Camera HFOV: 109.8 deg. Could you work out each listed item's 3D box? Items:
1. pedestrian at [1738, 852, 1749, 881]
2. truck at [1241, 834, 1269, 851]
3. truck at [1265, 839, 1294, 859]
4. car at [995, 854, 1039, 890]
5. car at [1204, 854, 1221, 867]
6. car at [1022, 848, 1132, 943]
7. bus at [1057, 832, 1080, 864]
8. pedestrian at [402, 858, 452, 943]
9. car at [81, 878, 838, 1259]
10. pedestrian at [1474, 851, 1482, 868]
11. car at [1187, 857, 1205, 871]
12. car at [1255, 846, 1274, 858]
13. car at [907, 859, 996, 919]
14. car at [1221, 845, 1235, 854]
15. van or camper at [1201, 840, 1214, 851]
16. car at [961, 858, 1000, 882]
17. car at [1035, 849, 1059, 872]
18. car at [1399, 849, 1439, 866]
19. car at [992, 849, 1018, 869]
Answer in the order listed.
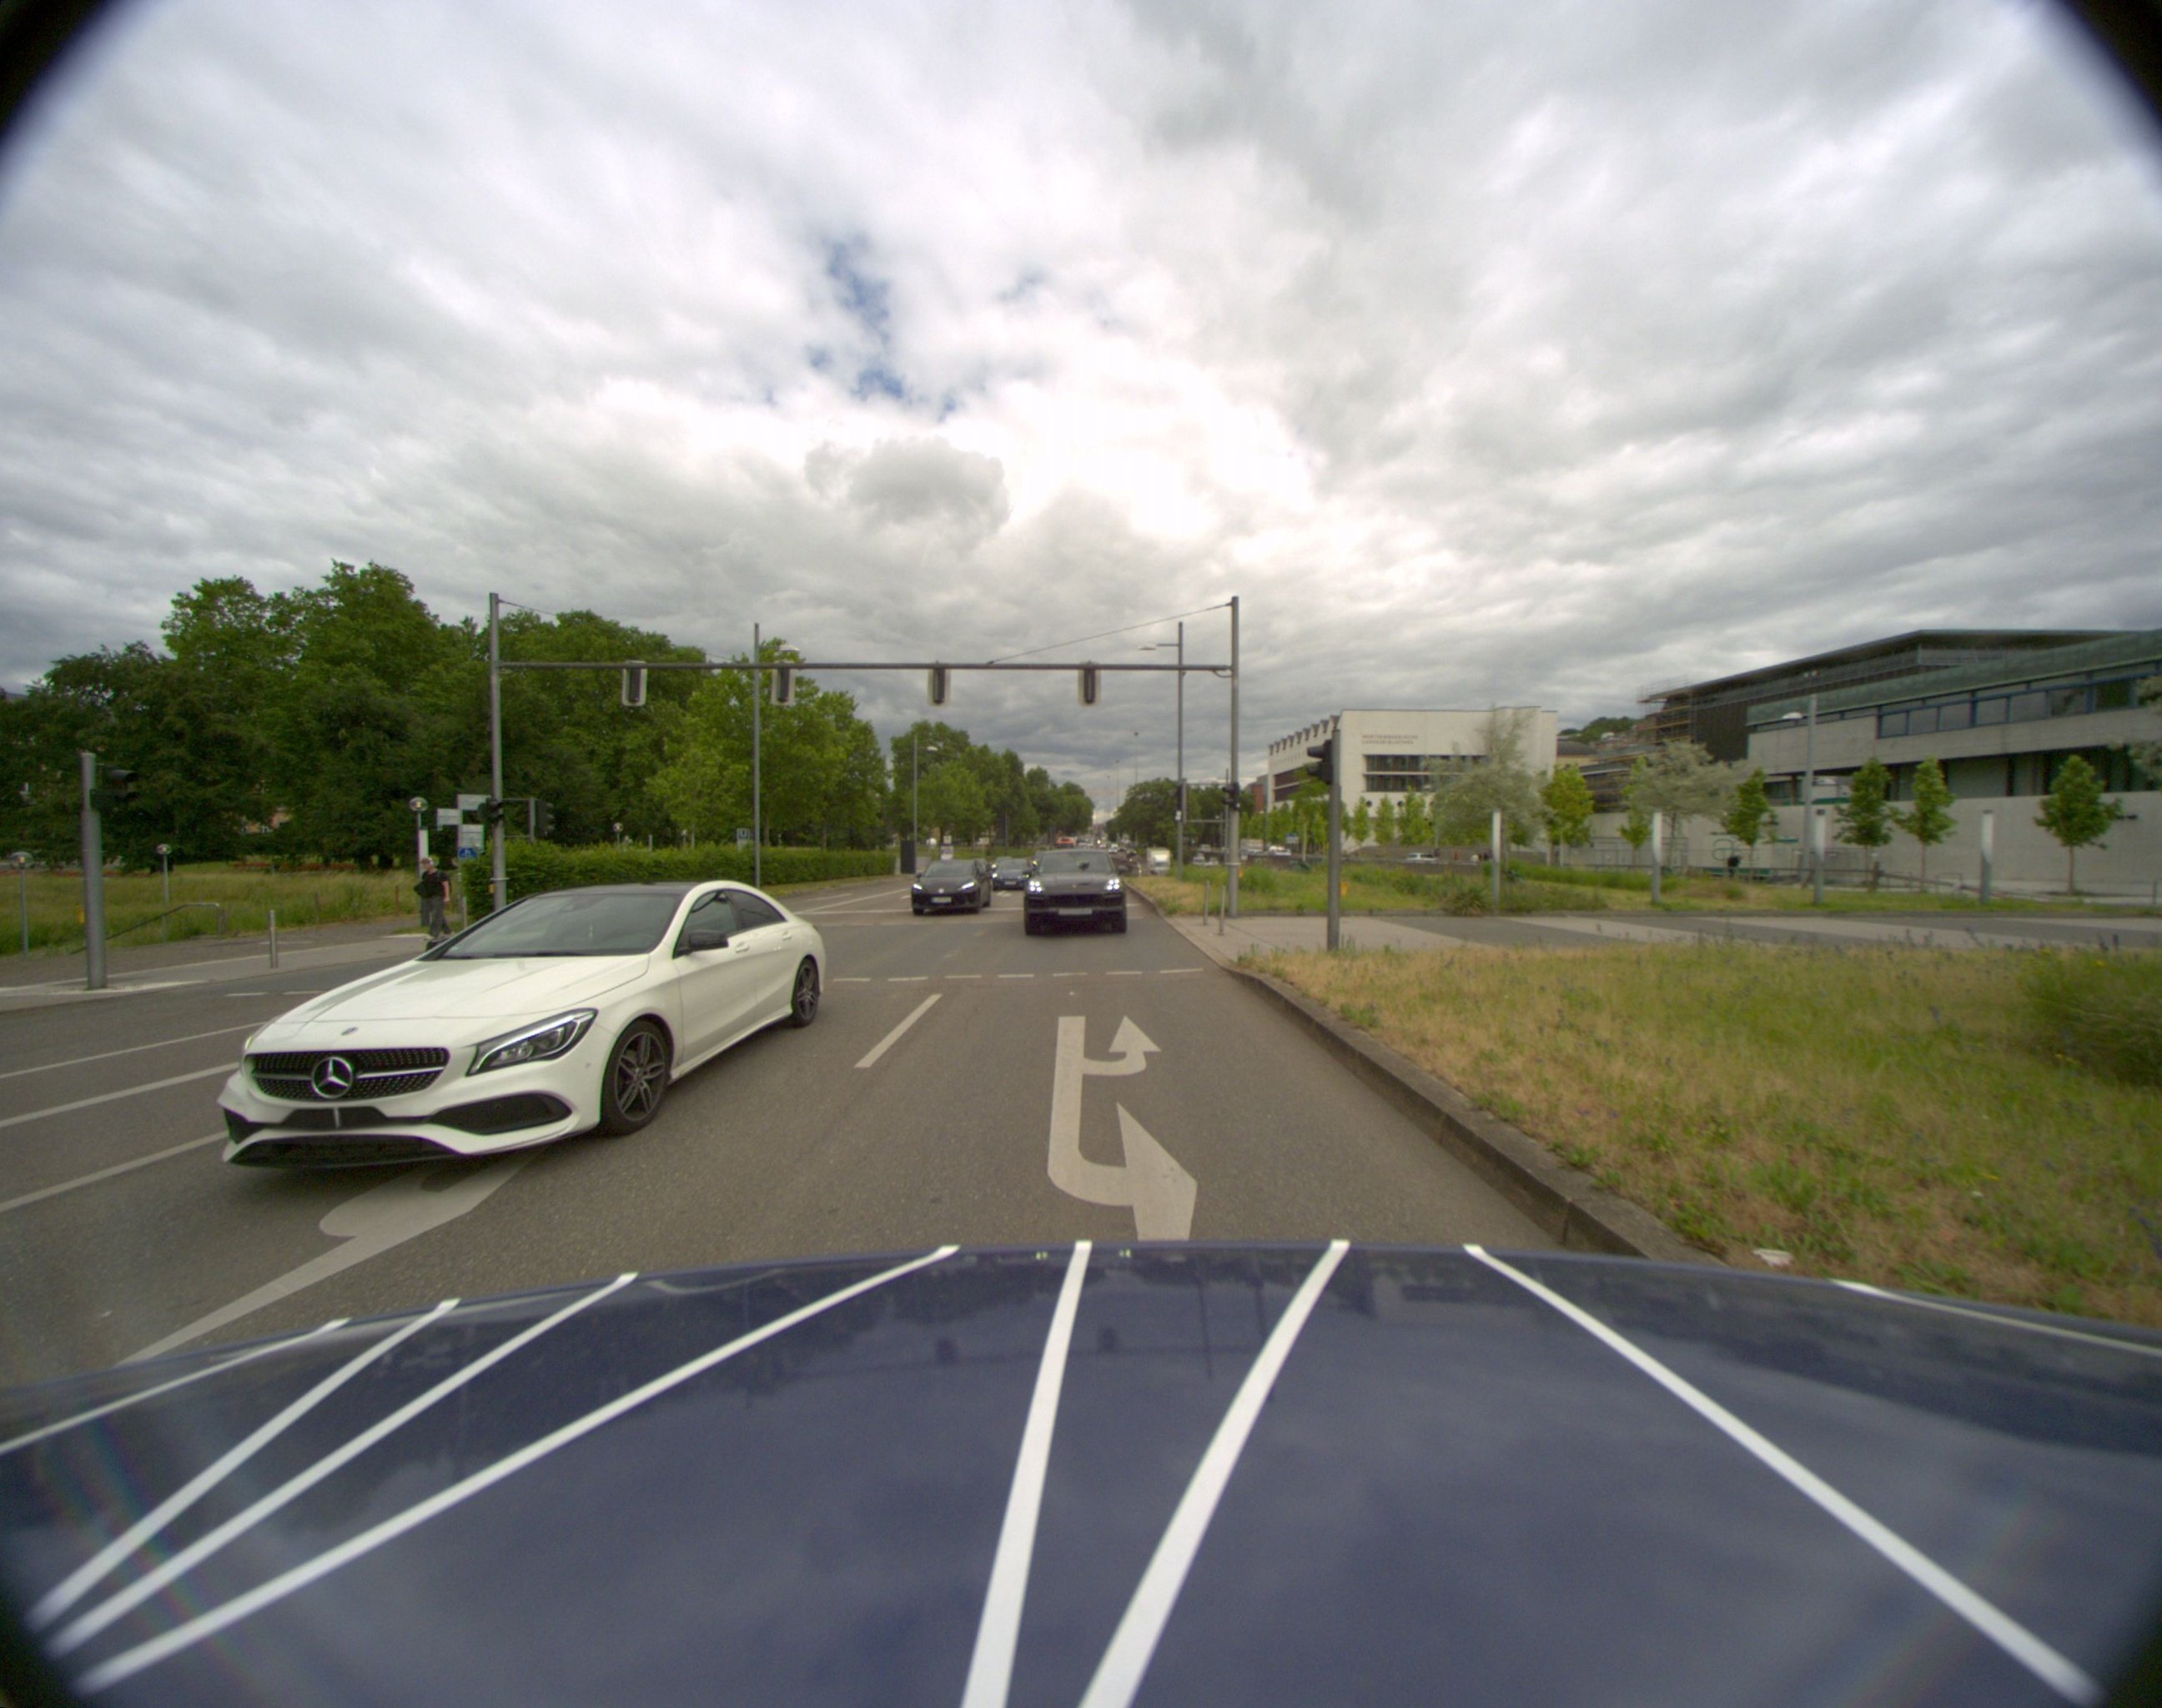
[{"bbox_3d":[35.816,0.673,41.094,0.318,1.513,0.316,-2,1,-6],"label":"pedestrian"},{"bbox_3d":[30.650,-2.043,134.314,3.239,2.771,7.253,-1,0,0],"label":"truck"},{"bbox_3d":[27.981,-0.673,107.544,2.470,2.800,7.079,-1,0,2],"label":"truck"},{"bbox_3d":[-2.944,0.812,35.725,1.573,1.528,4.002,-3,-1,1],"label":"car"},{"bbox_3d":[20.842,1.014,120.306,1.998,2.002,4.000,3,0,0],"label":"car"},{"bbox_3d":[-0.058,0.736,16.141,1.938,1.668,4.679,-2,0,0],"label":"car"},{"bbox_3d":[-1.756,-0.905,109.278,3.043,4.328,8.748,-1,1,-1],"label":"bus"},{"bbox_3d":[-13.863,0.975,16.111,0.479,1.754,0.620,-1,1,-3],"label":"pedestrian"},{"bbox_3d":[-3.376,0.995,5.510,1.723,1.415,4.505,-1,1,0],"label":"car"},{"bbox_3d":[35.942,0.459,68.831,0.429,1.513,0.461,-2,1,-6],"label":"pedestrian"},{"bbox_3d":[17.260,1.507,113.925,1.998,2.002,4.332,3,0,0],"label":"car"},{"bbox_3d":[28.623,-0.315,118.786,1.998,1.805,4.258,-1,0,0],"label":"car"},{"bbox_3d":[-3.631,0.923,22.043,1.830,1.515,4.119,-1,0,0],"label":"car"},{"bbox_3d":[26.770,-0.800,138.659,1.723,1.565,4.270,-1,0,2],"label":"car"},{"bbox_3d":[25.789,-1.739,155.029,1.998,2.002,4.557,-1,0,0],"label":"van or camper"},{"bbox_3d":[-6.439,1.001,48.888,1.867,1.412,3.999,-2,1,1],"label":"car"},{"bbox_3d":[-2.840,0.541,64.364,1.723,1.851,4.430,-1,1,0],"label":"car"},{"bbox_3d":[31.475,0.312,70.853,1.723,1.565,4.613,-1,0,2],"label":"car"},{"bbox_3d":[-6.408,0.410,64.560,1.723,1.528,4.001,-1,1,0],"label":"car"}]
